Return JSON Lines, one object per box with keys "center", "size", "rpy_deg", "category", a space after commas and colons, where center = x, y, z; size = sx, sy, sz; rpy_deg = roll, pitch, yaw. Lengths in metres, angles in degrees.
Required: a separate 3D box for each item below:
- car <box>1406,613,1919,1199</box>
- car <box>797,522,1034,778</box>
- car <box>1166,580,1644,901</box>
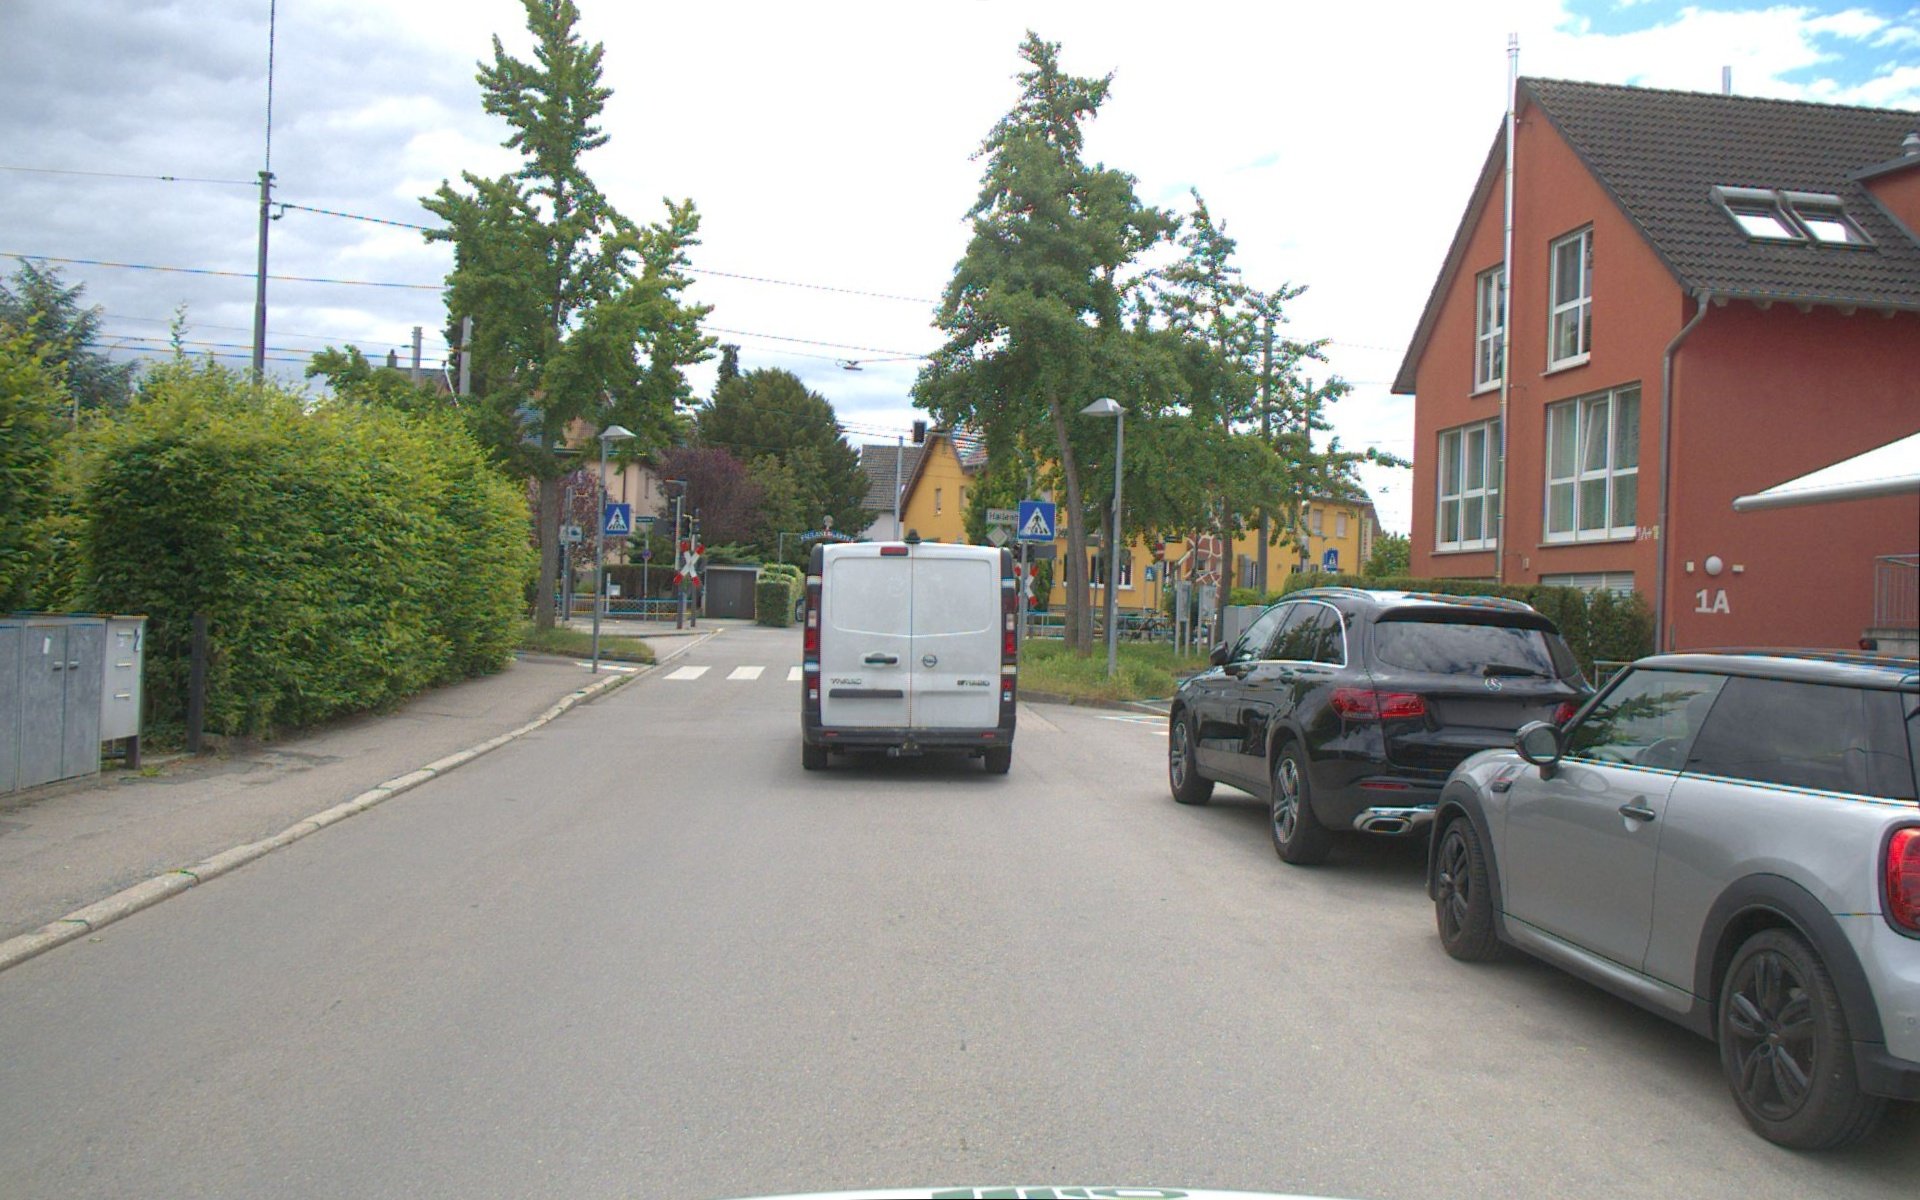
{"center": [3.165, 0.869, 6.131], "size": [1.708, 1.520, 3.651], "rpy_deg": [4, -1, -5], "category": "car"}
{"center": [-0.529, 0.376, 15.581], "size": [1.878, 2.037, 4.434], "rpy_deg": [1, 1, -5], "category": "car"}
{"center": [2.690, 0.768, 11.083], "size": [1.669, 1.642, 4.254], "rpy_deg": [4, 0, -5], "category": "car"}
